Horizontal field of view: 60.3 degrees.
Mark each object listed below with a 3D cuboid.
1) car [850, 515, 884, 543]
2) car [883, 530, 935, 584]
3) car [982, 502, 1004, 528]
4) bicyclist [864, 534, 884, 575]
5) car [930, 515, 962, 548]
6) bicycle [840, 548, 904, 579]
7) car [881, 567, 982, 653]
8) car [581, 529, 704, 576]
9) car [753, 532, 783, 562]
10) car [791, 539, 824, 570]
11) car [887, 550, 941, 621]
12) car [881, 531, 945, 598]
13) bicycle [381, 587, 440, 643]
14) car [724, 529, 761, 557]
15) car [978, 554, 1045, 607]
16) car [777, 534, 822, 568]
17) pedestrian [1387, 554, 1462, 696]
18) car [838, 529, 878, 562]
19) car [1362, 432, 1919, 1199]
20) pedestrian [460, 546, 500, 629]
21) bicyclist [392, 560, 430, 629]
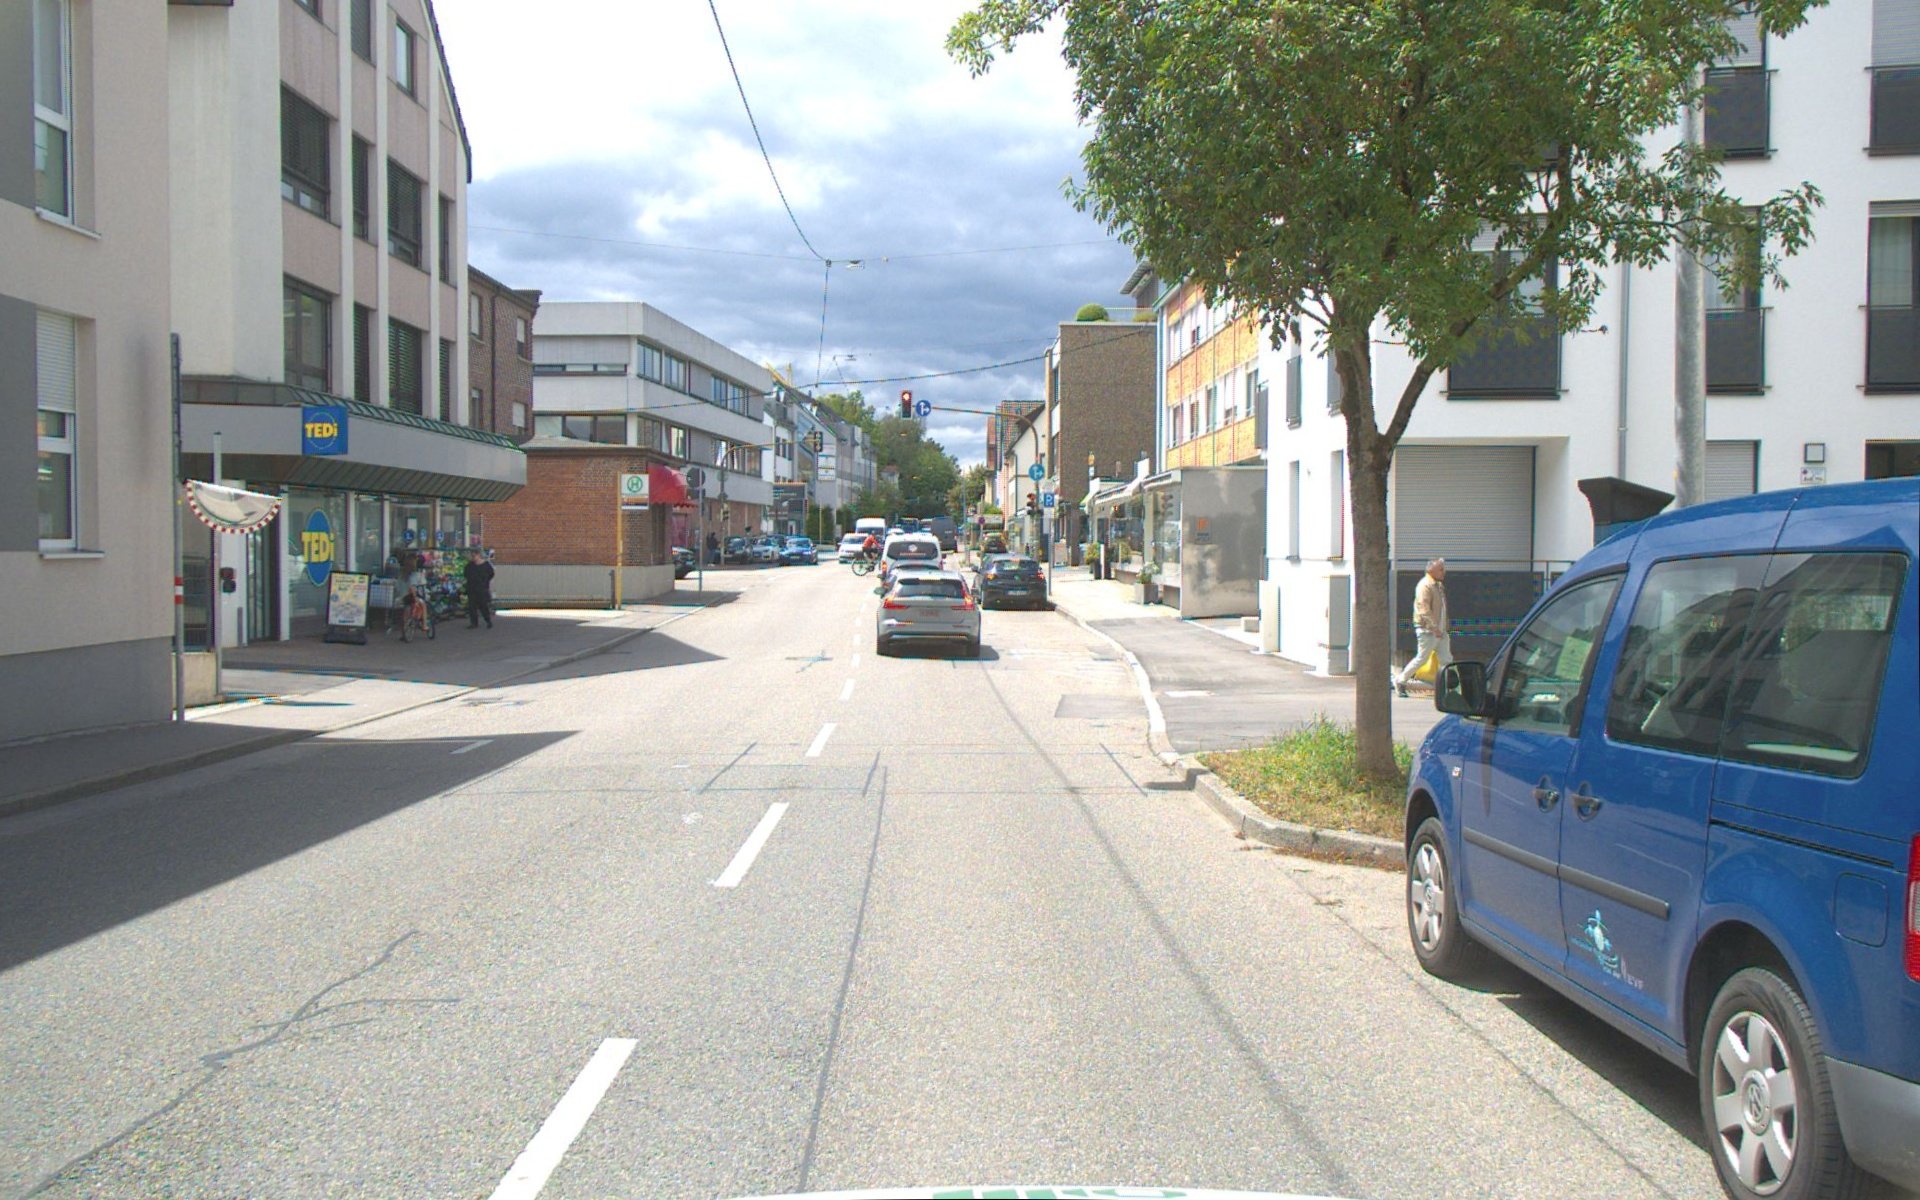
[{"bbox_3d":[-5.969,-4.559,106.807,1.834,1.668,4.001,0,0,1],"label":"car"},{"bbox_3d":[-1.926,-1.563,61.166,1.800,1.894,3.848,1,0,-3],"label":"car"},{"bbox_3d":[2.864,-7.359,143.581,1.765,2.049,3.999,0,0,-1],"label":"car"},{"bbox_3d":[-3.434,-1.809,66.104,0.756,1.634,0.581,0,0,2],"label":"bicyclist"},{"bbox_3d":[-1.130,-5.361,129.745,2.387,2.359,5.325,2,1,-1],"label":"car"},{"bbox_3d":[-3.504,-1.468,66.086,2.471,1.194,0.585,1,0,2],"label":"bicycle"},{"bbox_3d":[-0.514,0.148,30.074,1.708,1.441,3.999,0,1,-1],"label":"car"},{"bbox_3d":[-11.990,-1.775,62.611,4.247,1.756,1.846,0,1,2],"label":"car"},{"bbox_3d":[-10.855,-2.980,93.553,1.356,1.568,3.398,0,0,-1],"label":"car"},{"bbox_3d":[-10.752,-3.168,116.764,1.953,2.049,4.000,1,0,-1],"label":"car"},{"bbox_3d":[-1.096,-0.386,39.770,1.248,1.553,3.051,0,3,-1],"label":"car"},{"bbox_3d":[-1.382,-1.029,49.449,1.799,1.894,3.850,1,0,-1],"label":"car"},{"bbox_3d":[-9.576,0.241,28.866,0.457,0.876,1.777,1,2,-1],"label":"bicycle"},{"bbox_3d":[-11.593,-3.023,88.309,1.520,1.400,3.398,0,0,-1],"label":"car"},{"bbox_3d":[1.393,-0.562,45.888,1.717,1.395,4.000,0,1,0],"label":"car"},{"bbox_3d":[-8.570,-2.618,88.583,1.834,1.668,4.001,2,0,1],"label":"car"},{"bbox_3d":[5.615,0.293,19.989,0.605,1.676,0.735,-1,0,42],"label":"pedestrian"},{"bbox_3d":[-5.675,-3.009,92.353,1.834,1.668,4.001,2,0,1],"label":"car"},{"bbox_3d":[2.782,0.572,5.332,1.807,1.798,4.514,1,0,-1],"label":"car"},{"bbox_3d":[-9.605,-0.245,33.093,0.615,1.630,0.563,1,0,2],"label":"pedestrian"},{"bbox_3d":[-9.574,-0.101,28.862,0.448,1.199,0.624,0,0,-1],"label":"bicyclist"}]
